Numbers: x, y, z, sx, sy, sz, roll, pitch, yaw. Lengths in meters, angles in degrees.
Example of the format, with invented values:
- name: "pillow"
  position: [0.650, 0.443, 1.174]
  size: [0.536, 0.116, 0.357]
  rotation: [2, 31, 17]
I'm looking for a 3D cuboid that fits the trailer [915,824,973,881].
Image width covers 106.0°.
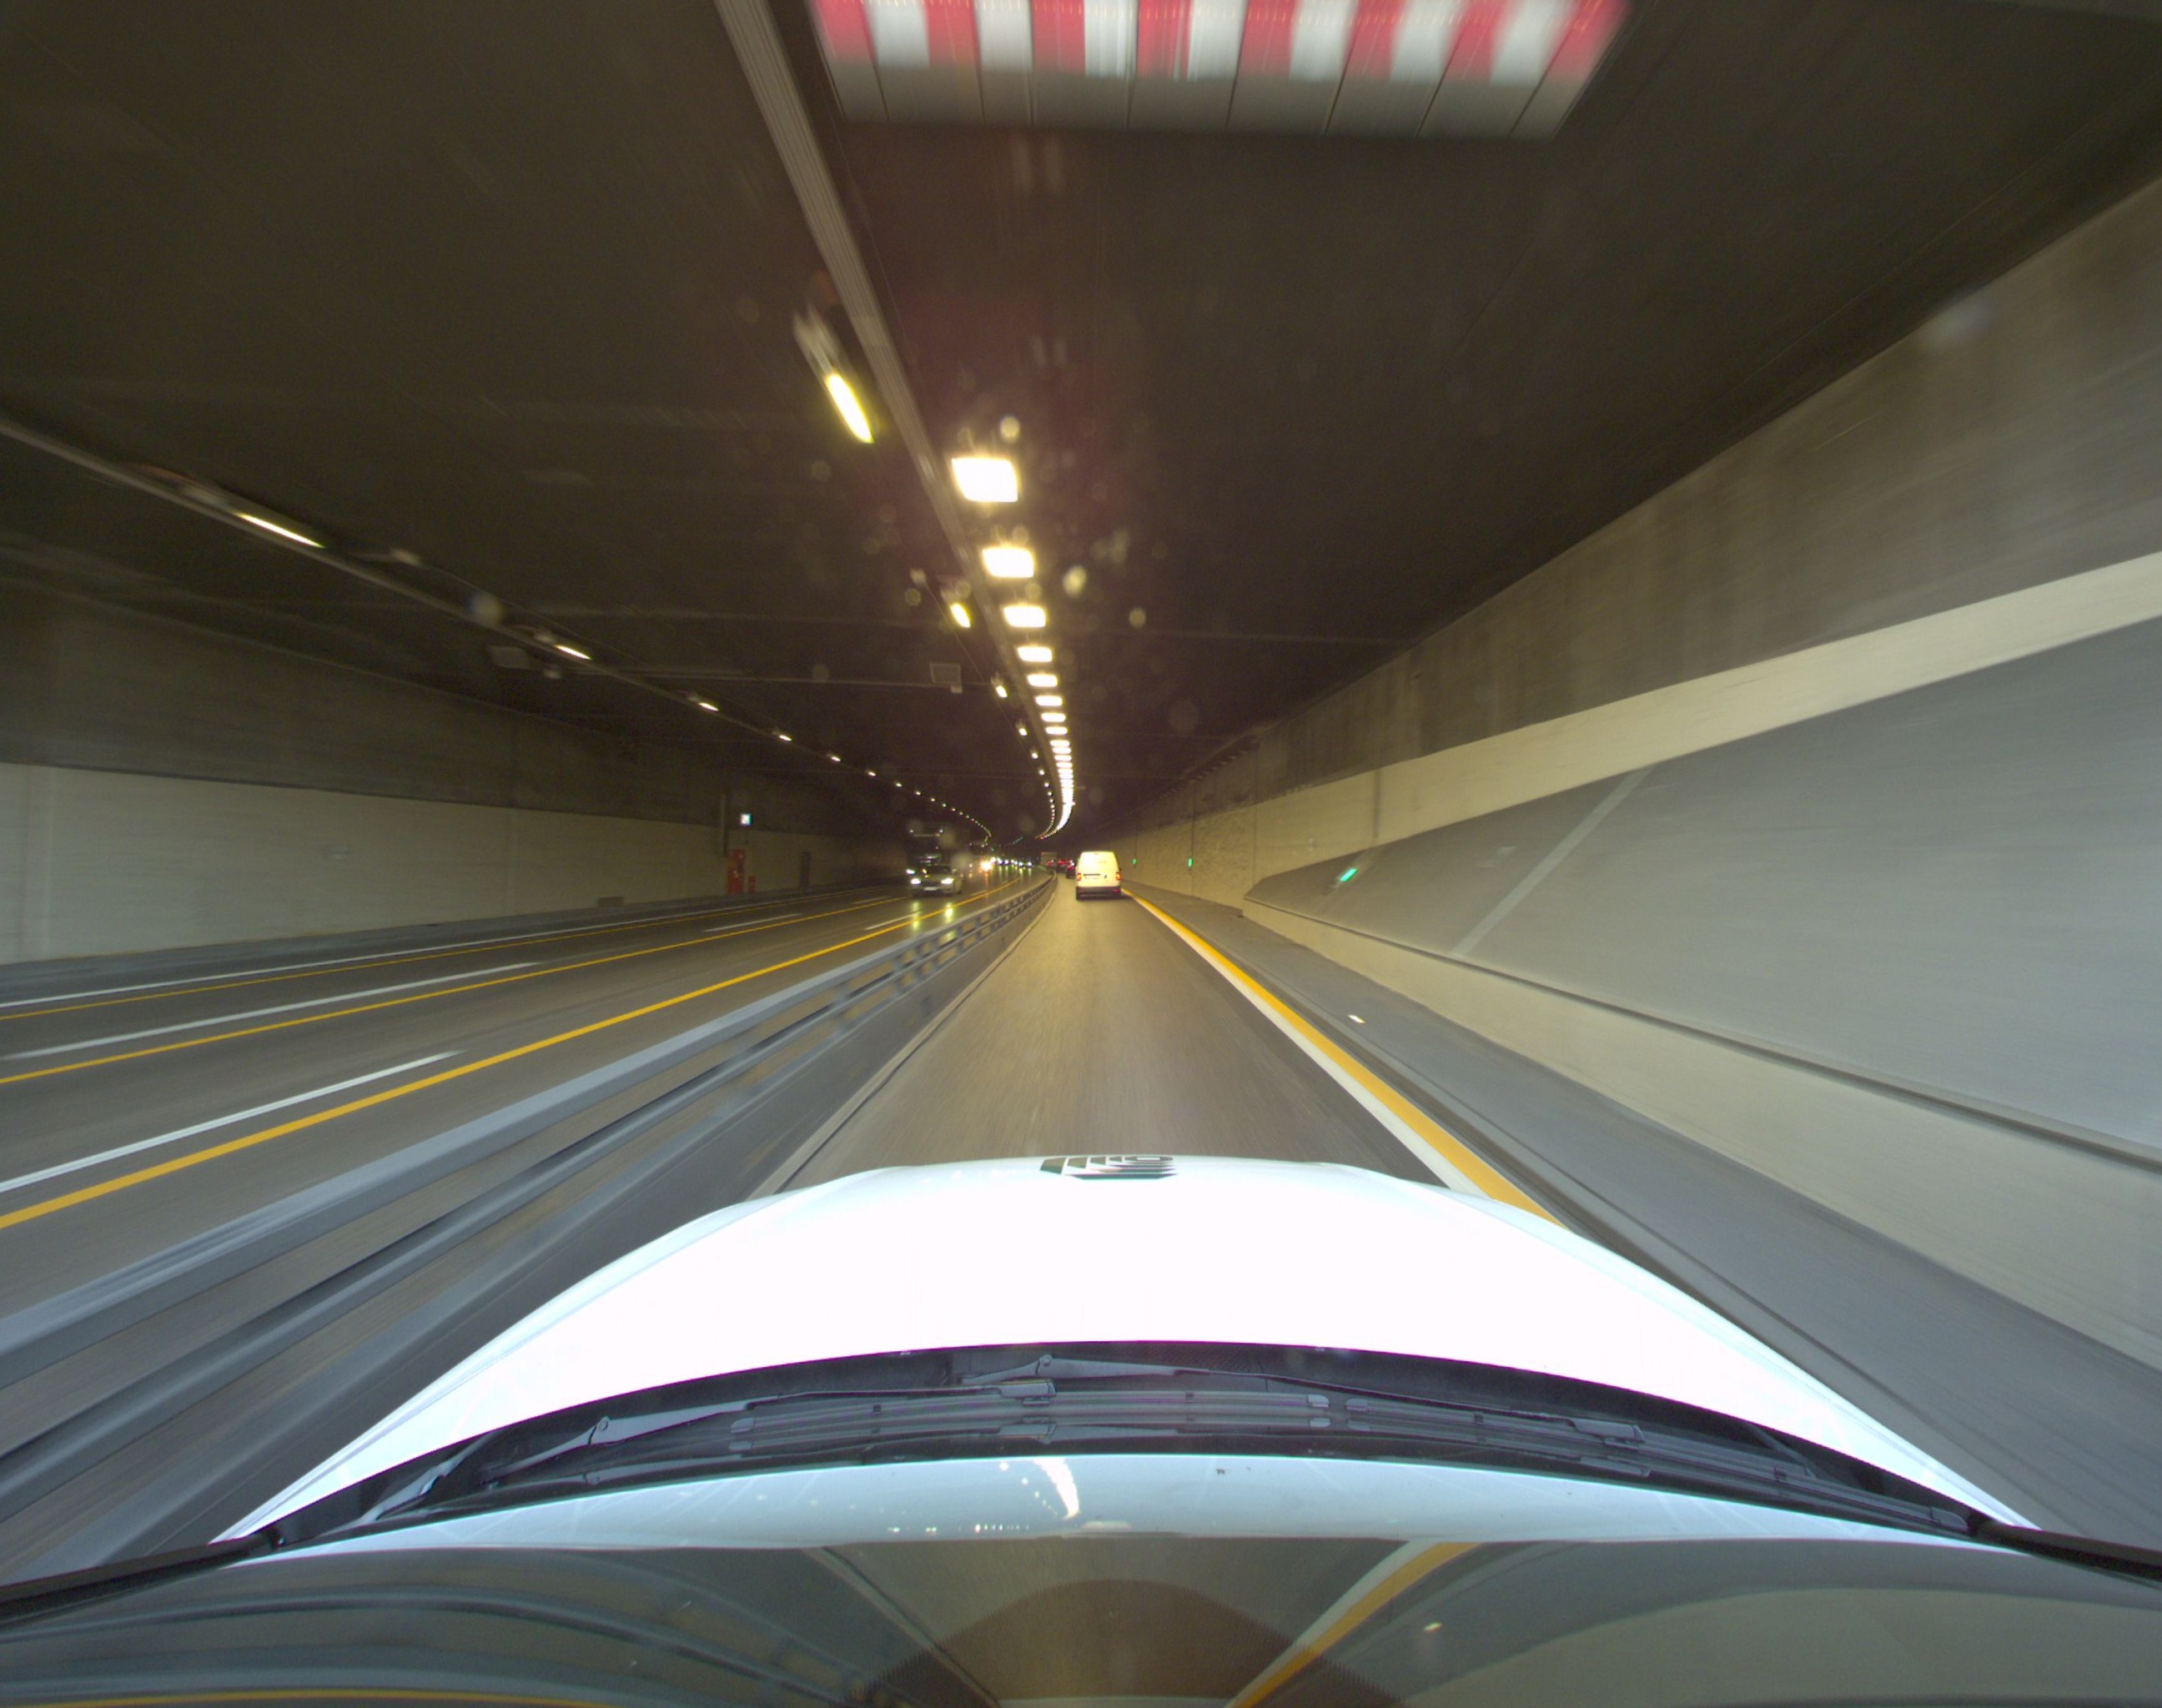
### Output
- name: "trailer"
  position: [-10.355, -0.046, 63.159]
  size: [2.807, 3.902, 15.439]
  rotation: [-1, 0, -3]

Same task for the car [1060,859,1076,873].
- name: "car"
  position: [-1.478, 1.398, 92.455]
  size: [1.596, 1.546, 3.671]
  rotation: [-1, -1, -5]

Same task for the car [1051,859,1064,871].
- name: "car"
  position: [-3.309, 1.560, 114.545]
  size: [1.596, 1.546, 3.669]
  rotation: [-1, -1, -6]

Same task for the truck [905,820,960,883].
- name: "truck"
  position: [-9.861, -0.126, 54.780]
  size: [2.804, 3.916, 6.447]
  rotation: [-1, -1, -3]

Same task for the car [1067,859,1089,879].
- name: "car"
  position: [-0.297, 1.206, 65.629]
  size: [1.595, 1.546, 3.673]
  rotation: [-1, -1, -3]

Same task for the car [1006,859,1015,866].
- name: "car"
  position: [-16.501, 1.952, 189.429]
  size: [1.808, 1.718, 5.052]
  rotation: [-1, -1, -8]

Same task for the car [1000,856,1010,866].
- name: "car"
  position: [-15.126, 1.404, 161.810]
  size: [1.808, 1.808, 5.052]
  rotation: [-1, -1, -8]

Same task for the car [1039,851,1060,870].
- name: "car"
  position: [-5.104, 1.113, 131.941]
  size: [2.811, 2.773, 7.085]
  rotation: [-4, 0, -6]

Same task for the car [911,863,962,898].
- name: "car"
  position: [-6.372, 1.131, 36.364]
  size: [1.818, 1.456, 4.087]
  rotation: [-1, -1, -4]

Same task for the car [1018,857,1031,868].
- name: "car"
  position: [-9.124, 1.362, 131.272]
  size: [1.806, 1.855, 5.057]
  rotation: [-1, -1, -5]

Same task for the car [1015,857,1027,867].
- name: "car"
  position: [-11.630, 1.522, 158.269]
  size: [1.926, 1.848, 4.347]
  rotation: [-2, 2, -9]

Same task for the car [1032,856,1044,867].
- name: "car"
  position: [-8.942, 1.590, 168.082]
  size: [2.033, 2.021, 4.621]
  rotation: [4, -1, -6]

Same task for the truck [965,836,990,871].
- name: "truck"
  position: [-12.558, -0.004, 98.738]
  size: [2.655, 4.143, 5.346]
  rotation: [-1, -1, -4]

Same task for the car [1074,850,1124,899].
- name: "car"
  position: [0.740, 0.798, 32.080]
  size: [1.801, 1.794, 3.732]
  rotation: [1, -1, 2]
